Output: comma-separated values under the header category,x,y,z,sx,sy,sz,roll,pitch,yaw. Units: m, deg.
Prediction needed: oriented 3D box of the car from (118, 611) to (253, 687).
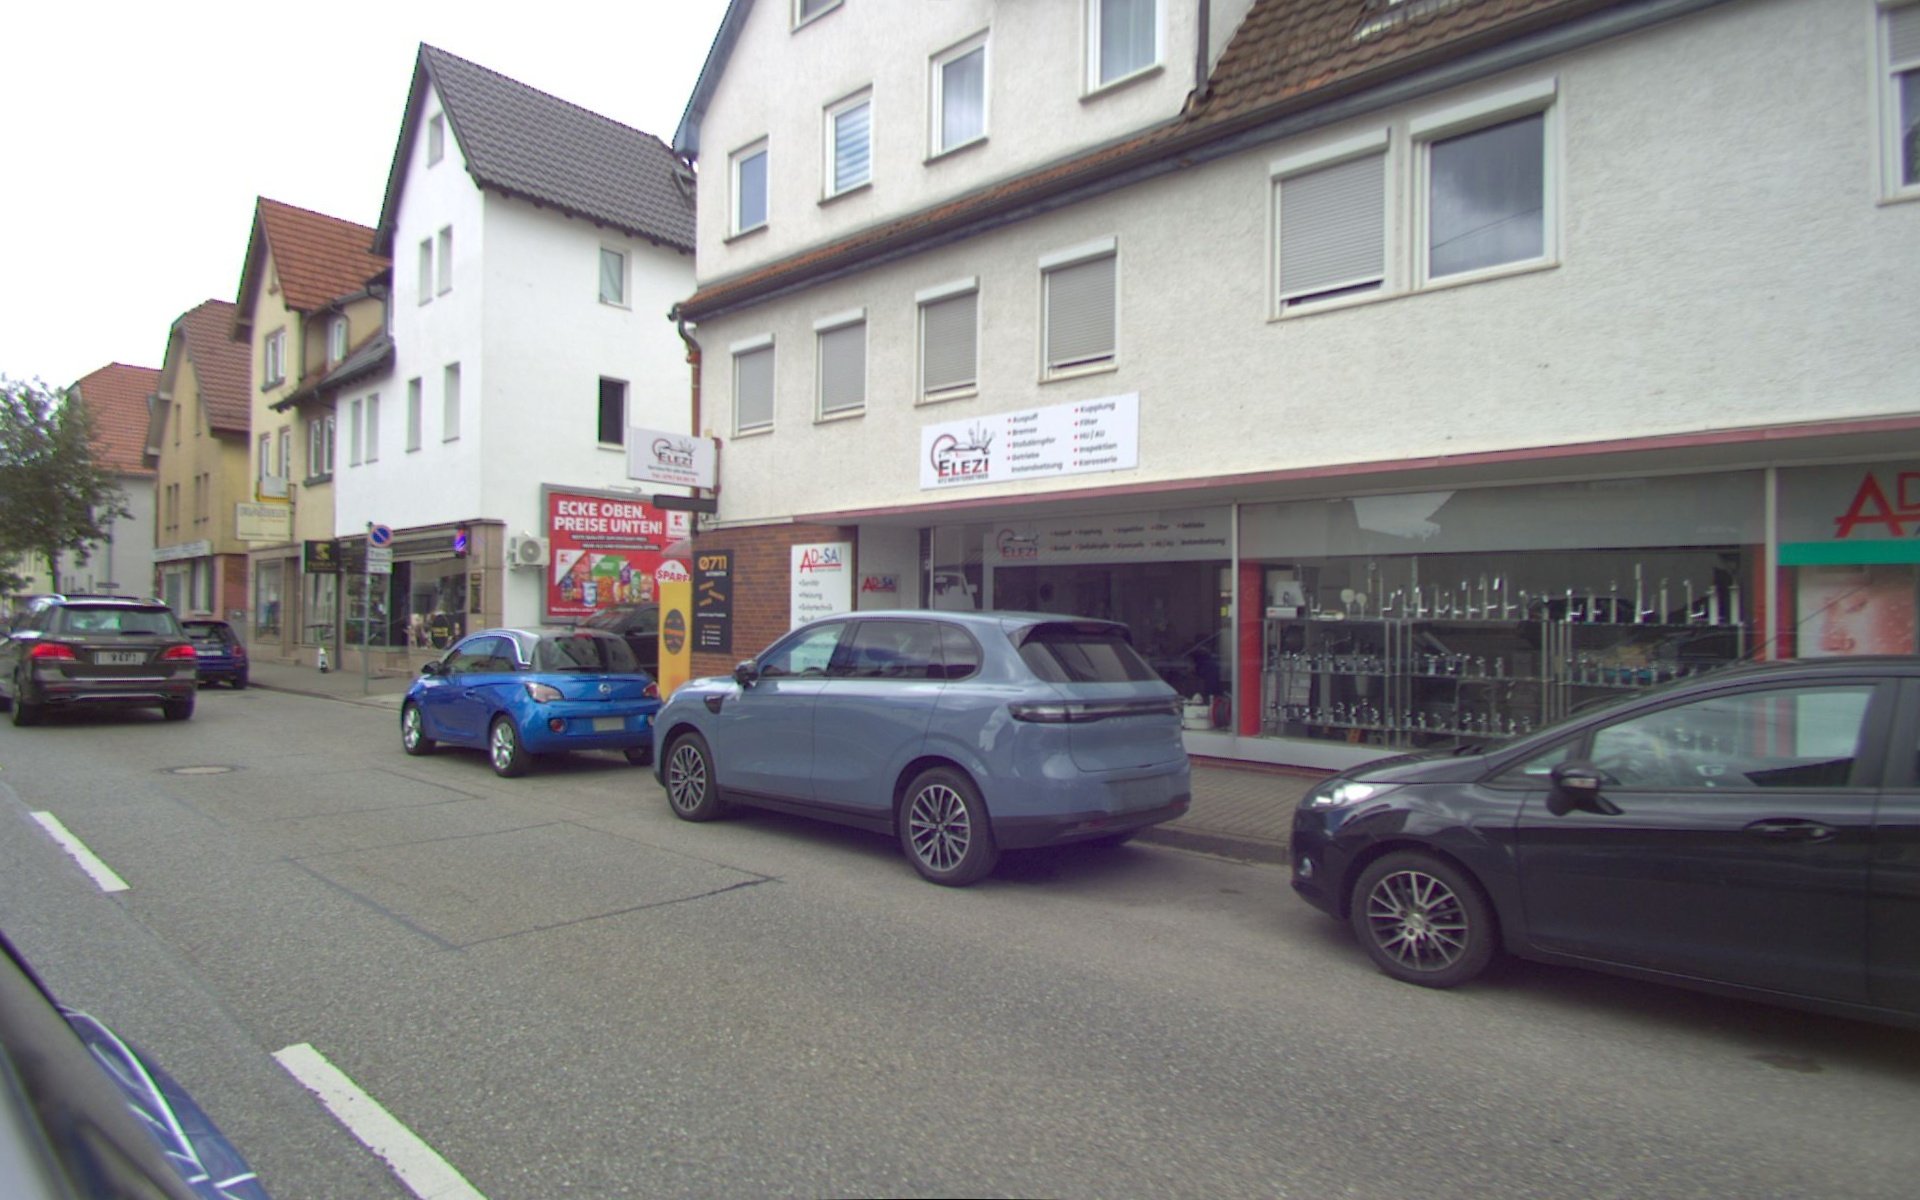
category,x,y,z,sx,sy,sz,roll,pitch,yaw
car,-16.805,1.009,21.910,3.590,1.504,1.664,-1,-3,42

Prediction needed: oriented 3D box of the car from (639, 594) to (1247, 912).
category,x,y,z,sx,sy,sz,roll,pitch,yaw
car,-0.347,0.824,7.271,4.303,1.611,1.784,-1,-3,42

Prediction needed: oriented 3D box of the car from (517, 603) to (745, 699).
category,x,y,z,sx,sy,sz,roll,pitch,yaw
car,-6.548,0.937,20.457,1.998,1.715,3.948,0,0,39

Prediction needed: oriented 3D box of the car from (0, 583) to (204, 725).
category,x,y,z,sx,sy,sz,roll,pitch,yaw
car,-12.632,0.712,14.610,4.365,1.751,1.880,-1,-3,42

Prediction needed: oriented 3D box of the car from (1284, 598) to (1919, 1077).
category,x,y,z,sx,sy,sz,roll,pitch,yaw
car,3.426,0.791,3.960,3.811,1.519,1.565,0,-3,42

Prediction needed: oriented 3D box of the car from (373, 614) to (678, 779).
category,x,y,z,sx,sy,sz,roll,pitch,yaw
car,-4.931,0.946,11.273,3.774,1.511,1.664,-1,-3,42

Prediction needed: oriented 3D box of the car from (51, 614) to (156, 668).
category,x,y,z,sx,sy,sz,roll,pitch,yaw
car,-24.787,1.154,29.249,3.928,1.435,1.665,0,-3,41
